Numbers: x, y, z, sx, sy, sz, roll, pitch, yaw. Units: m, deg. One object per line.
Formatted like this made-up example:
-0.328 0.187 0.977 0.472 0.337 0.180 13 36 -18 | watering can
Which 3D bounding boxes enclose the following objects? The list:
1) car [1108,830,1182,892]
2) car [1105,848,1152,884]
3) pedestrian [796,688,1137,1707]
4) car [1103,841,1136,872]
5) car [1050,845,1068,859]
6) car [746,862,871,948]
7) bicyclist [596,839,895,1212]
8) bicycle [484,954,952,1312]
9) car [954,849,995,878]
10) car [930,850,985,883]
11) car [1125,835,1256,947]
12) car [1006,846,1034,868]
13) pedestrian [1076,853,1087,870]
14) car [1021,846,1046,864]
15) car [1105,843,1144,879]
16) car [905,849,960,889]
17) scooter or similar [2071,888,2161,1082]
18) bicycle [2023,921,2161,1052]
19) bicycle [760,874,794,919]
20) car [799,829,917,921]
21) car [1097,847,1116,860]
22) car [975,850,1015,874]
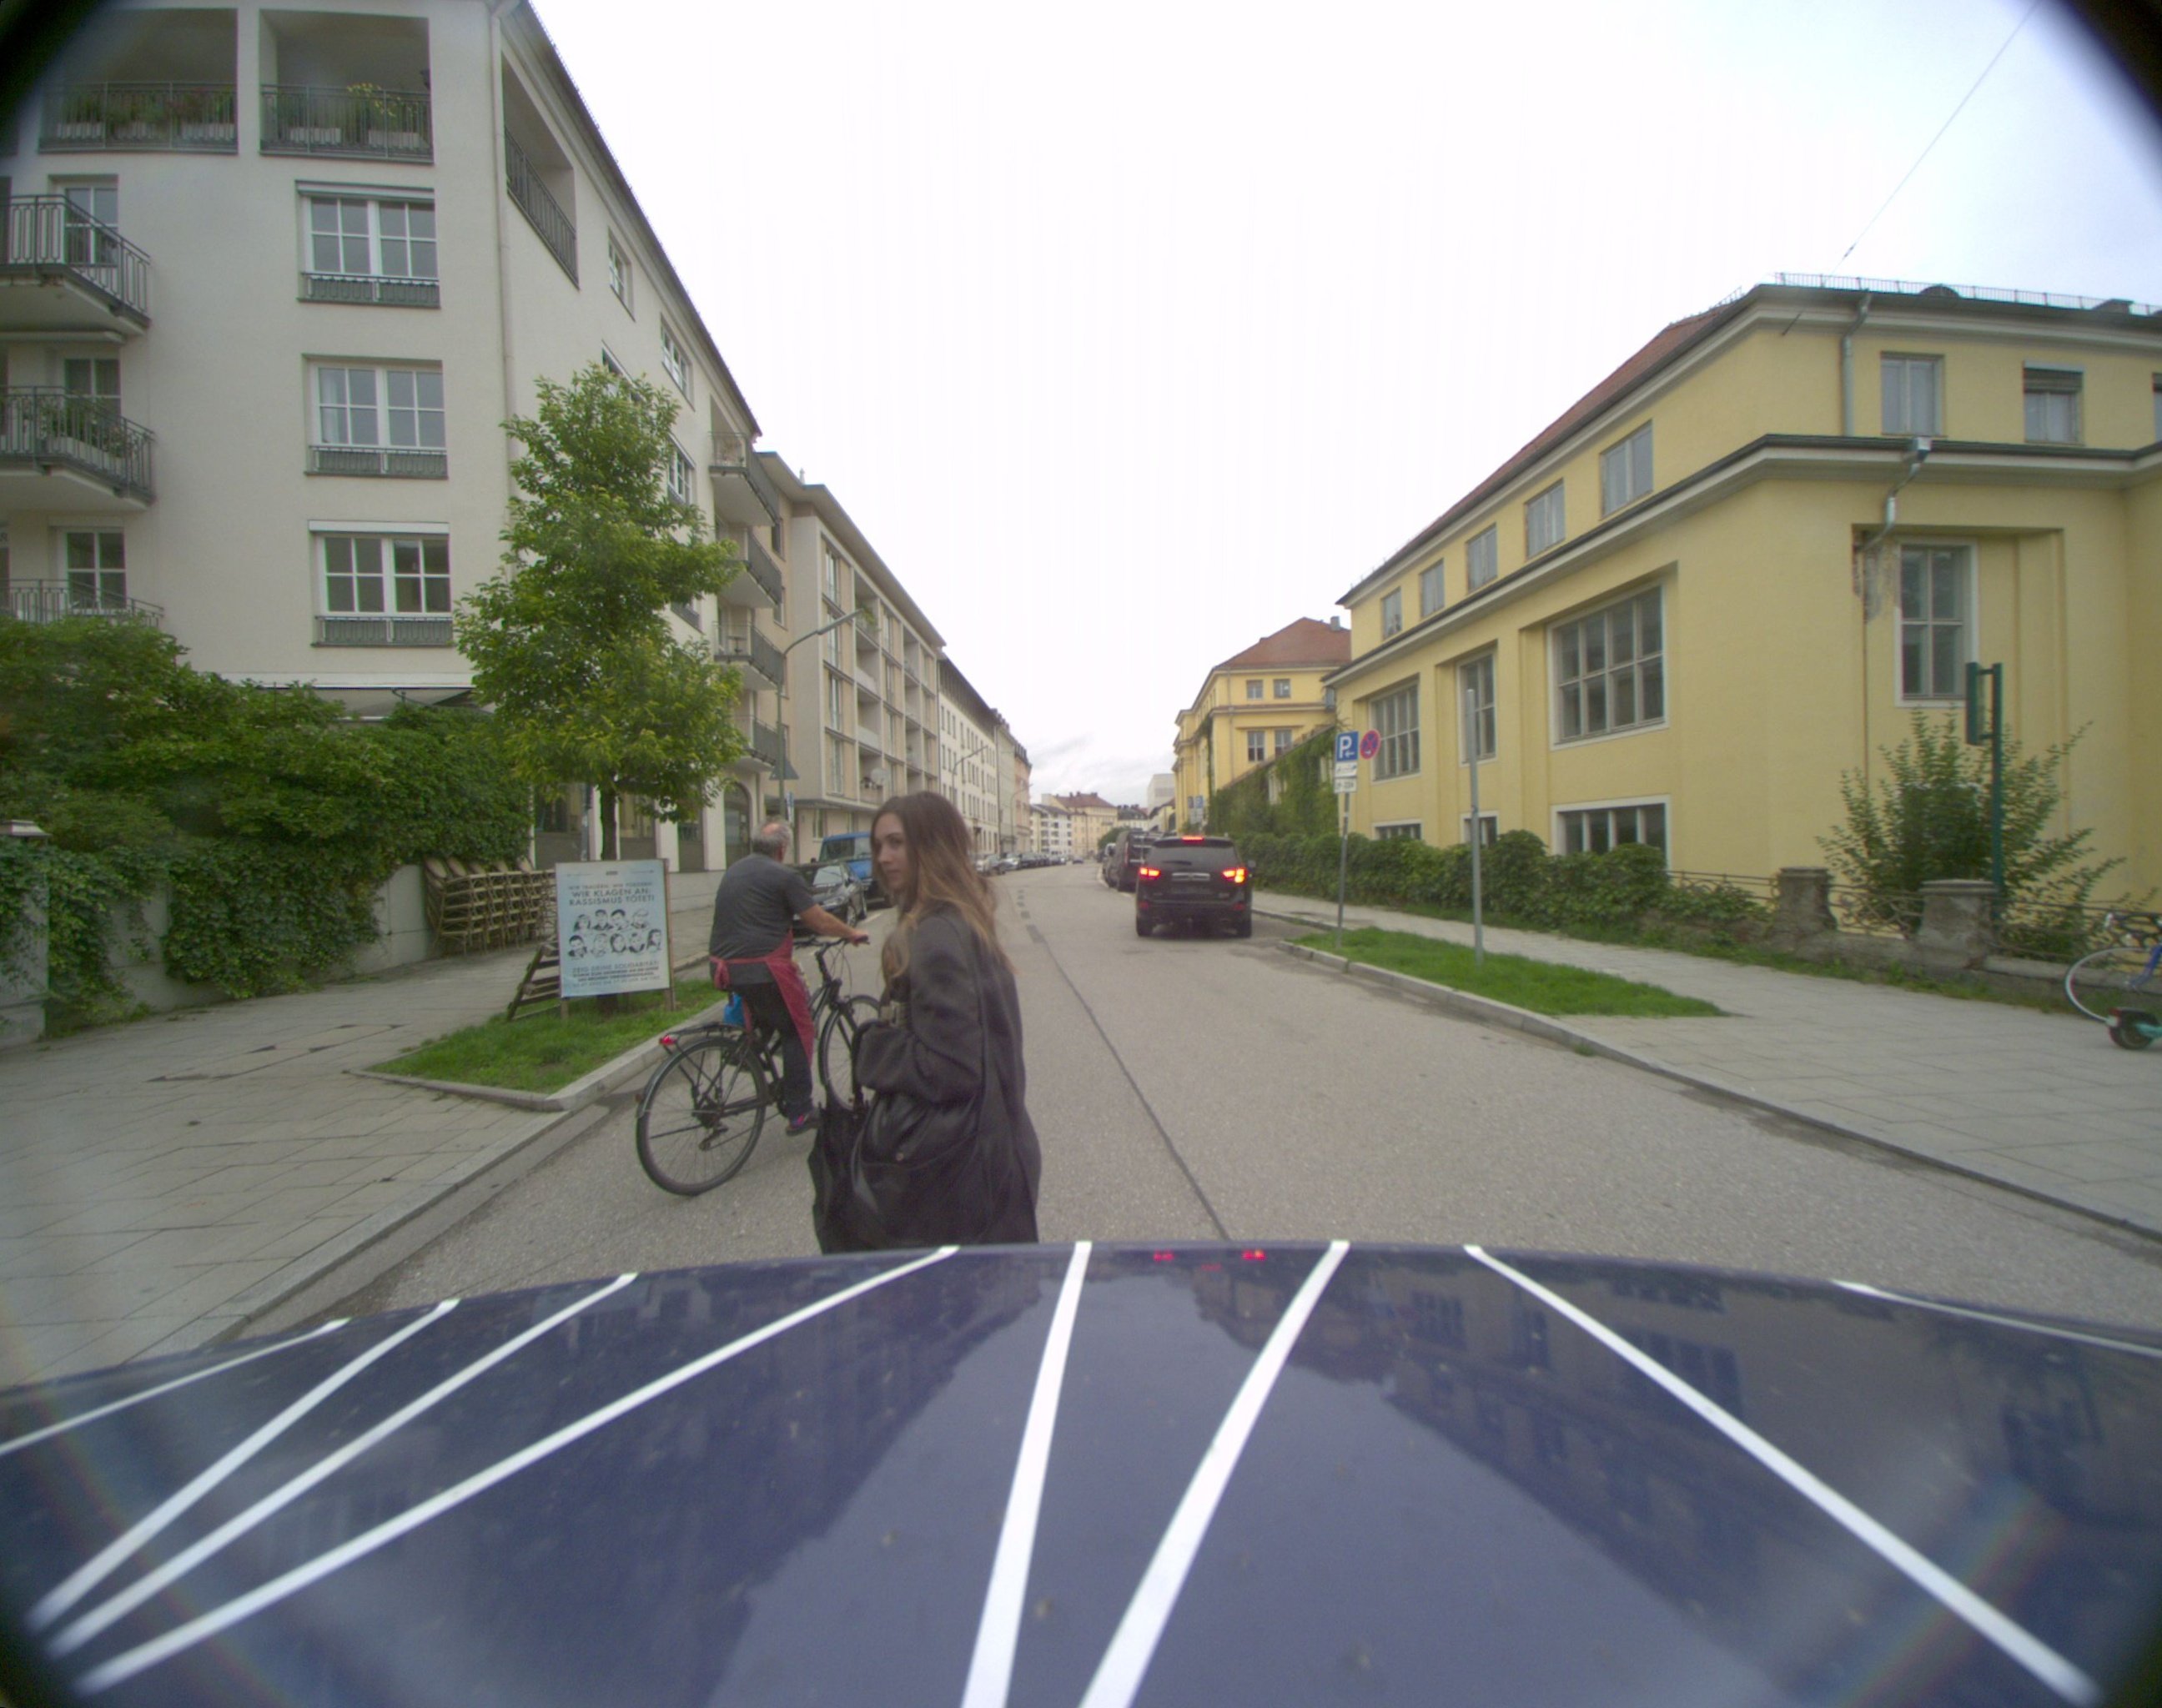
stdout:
2.169 0.222 26.987 1.931 1.967 4.621 1 0 -3 | car
1.971 0.500 32.478 1.711 1.357 4.001 3 0 0 | car
-0.269 0.597 1.541 0.544 1.687 0.665 0 1 -18 | pedestrian
2.387 0.147 48.327 1.897 1.788 4.881 3 0 2 | car
-2.733 -0.246 94.126 1.768 1.531 4.001 -4 0 3 | car
-5.675 0.976 16.302 1.720 1.387 3.996 -5 1 -9 | car
-1.651 0.739 3.892 0.876 1.600 1.051 -1 1 21 | bicyclist
-1.628 1.184 3.980 0.877 1.013 2.194 -1 0 20 | bicycle
-6.175 0.506 44.452 1.706 1.460 4.119 -6 1 0 | car
-6.302 0.597 39.269 1.776 1.421 4.693 -6 0 2 | car
2.149 0.576 14.100 1.997 1.709 4.619 -1 0 11 | car
-4.826 0.241 60.511 1.618 1.508 3.380 -5 0 3 | car
0.103 1.287 132.929 1.929 2.933 2.025 0 0 2 | pedestrian
-4.334 0.092 70.184 1.878 1.439 4.700 -3 0 1 | car
2.094 0.320 37.629 1.706 1.597 4.491 2 0 1 | car
-6.590 0.632 34.132 1.780 1.514 4.302 -6 0 -4 | car
7.633 0.863 5.116 1.263 1.237 0.394 -1 3 5 | scooter or similar
8.305 1.035 5.785 0.435 0.888 1.327 -2 3 -25 | bicycle
-7.854 1.072 19.666 0.567 1.063 1.785 -1 0 -15 | bicycle
-6.408 0.460 22.540 2.115 2.201 5.024 -6 3 -4 | car
4.895 -0.128 147.693 2.848 2.536 6.890 -1 0 -4 | car
-5.542 0.478 49.472 1.831 1.373 4.492 -4 0 3 | car
